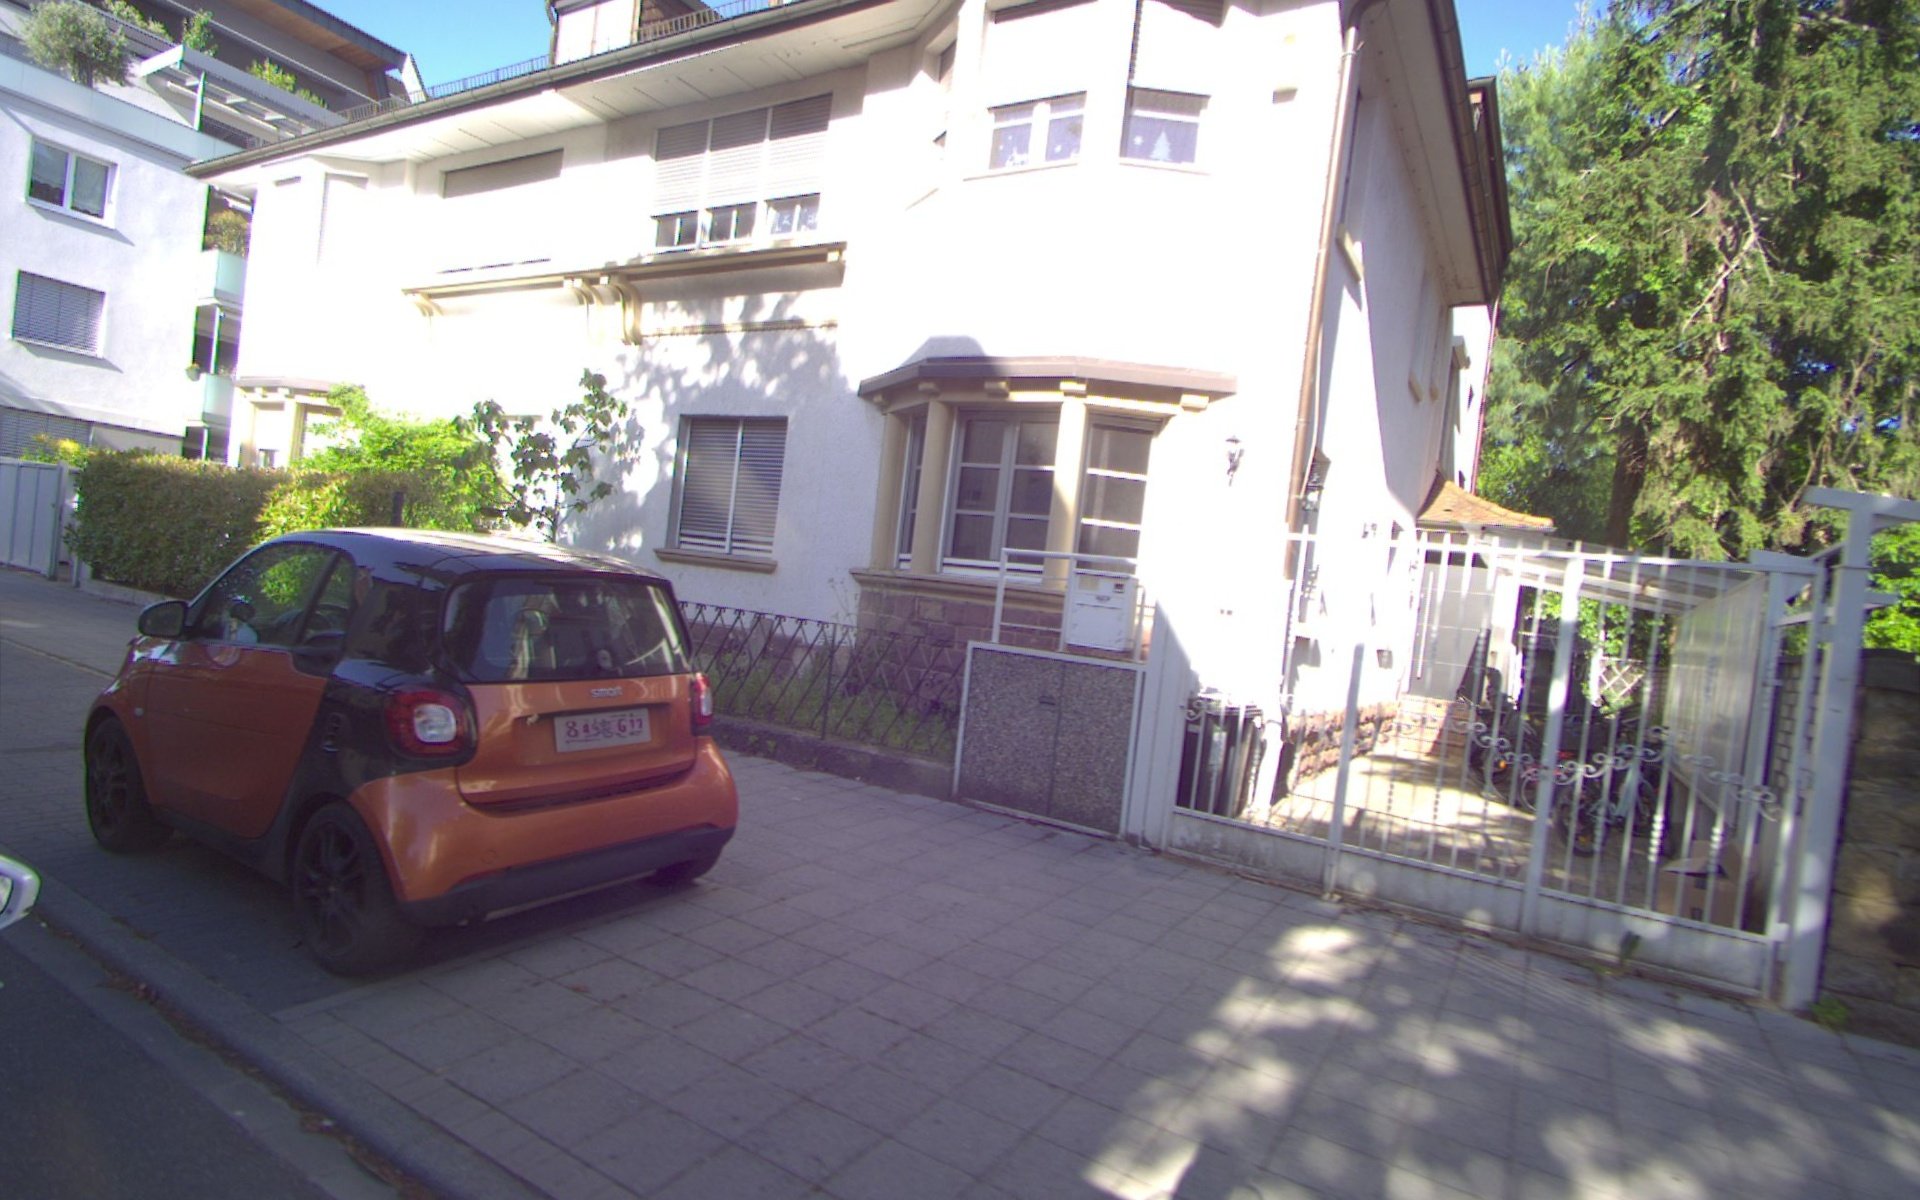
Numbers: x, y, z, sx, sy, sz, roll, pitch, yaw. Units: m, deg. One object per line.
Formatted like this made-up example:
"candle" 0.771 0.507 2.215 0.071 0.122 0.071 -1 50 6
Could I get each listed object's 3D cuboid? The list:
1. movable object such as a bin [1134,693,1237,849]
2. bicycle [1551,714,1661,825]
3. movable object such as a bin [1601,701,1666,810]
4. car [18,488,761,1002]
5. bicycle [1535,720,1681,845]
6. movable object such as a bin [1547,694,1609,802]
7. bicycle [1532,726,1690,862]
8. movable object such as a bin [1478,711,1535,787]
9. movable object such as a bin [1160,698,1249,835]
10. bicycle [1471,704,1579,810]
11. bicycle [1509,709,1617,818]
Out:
"movable object such as a bin" 1.571 1.170 6.995 0.483 0.981 0.451 6 -2 31
"bicycle" 6.373 1.650 9.899 1.533 1.000 0.310 6 -1 -36
"movable object such as a bin" 7.811 1.785 11.685 0.498 1.163 0.555 6 -2 31
"car" -2.713 0.396 4.664 3.193 1.500 1.593 7 2 31
"bicycle" 5.707 1.598 8.832 1.529 1.000 0.310 5 -1 -28
"movable object such as a bin" 7.204 1.714 11.743 0.498 1.163 0.555 6 -2 31
"bicycle" 5.302 1.567 8.163 1.529 1.000 0.310 5 -1 -28
"movable object such as a bin" 6.387 1.724 11.748 0.498 0.796 0.555 6 -2 31
"movable object such as a bin" 1.799 1.208 7.390 0.440 0.914 0.423 6 -2 31
"bicycle" 5.857 1.610 10.394 1.534 1.000 0.310 6 -1 -36
"bicycle" 6.081 1.627 10.119 1.534 1.000 0.310 6 -1 -36
